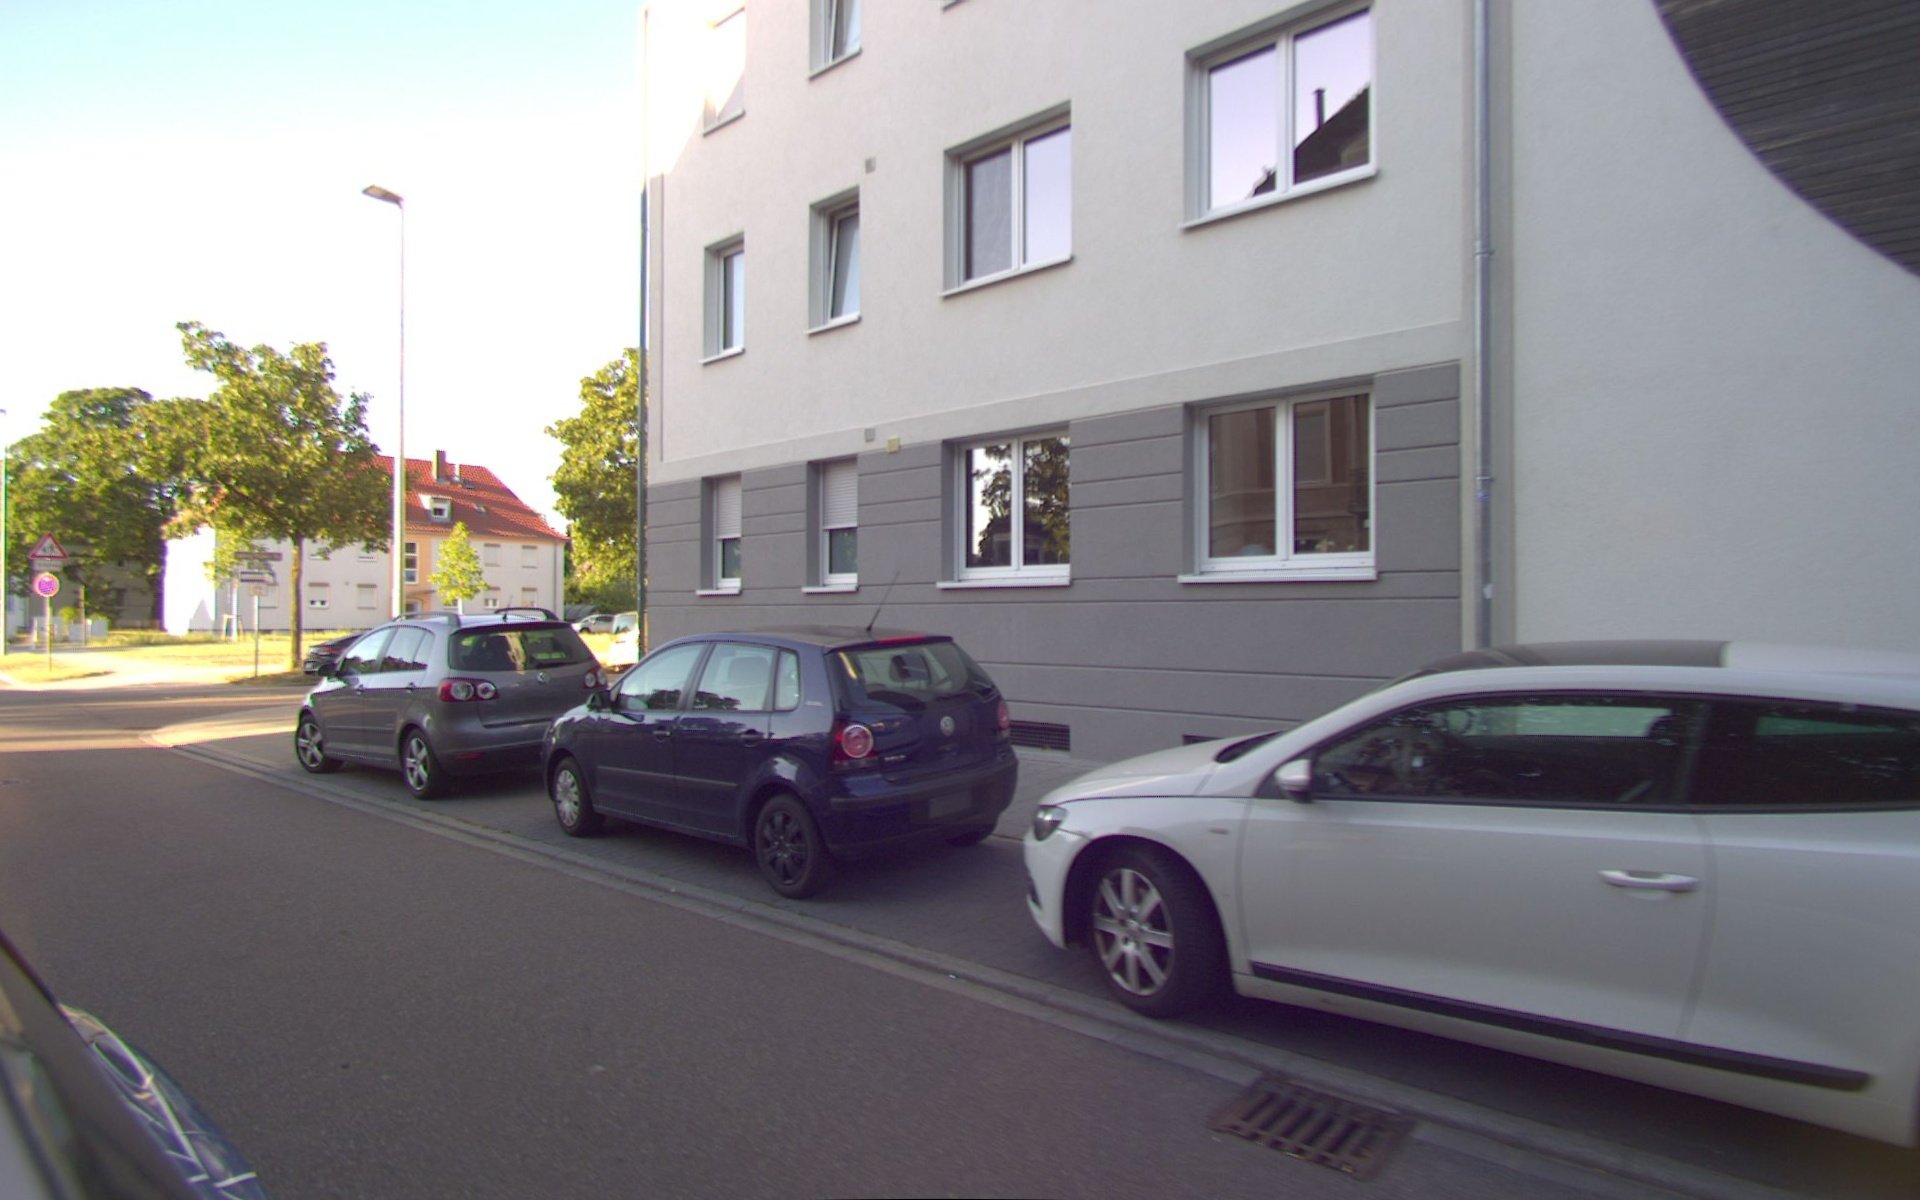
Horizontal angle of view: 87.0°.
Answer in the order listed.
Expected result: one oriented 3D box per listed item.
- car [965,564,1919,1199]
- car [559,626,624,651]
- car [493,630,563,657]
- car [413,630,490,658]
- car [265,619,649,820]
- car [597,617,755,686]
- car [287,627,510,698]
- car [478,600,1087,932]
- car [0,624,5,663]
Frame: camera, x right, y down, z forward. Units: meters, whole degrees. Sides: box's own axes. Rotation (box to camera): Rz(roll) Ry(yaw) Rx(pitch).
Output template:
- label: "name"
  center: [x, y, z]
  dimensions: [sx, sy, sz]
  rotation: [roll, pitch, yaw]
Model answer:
- label: "car"
  center: [2.189, 0.748, 3.577]
  dimensions: [4.085, 1.603, 1.866]
  rotation: [-1, -2, 38]
- label: "car"
  center: [-25.845, 2.686, 71.046]
  dimensions: [1.848, 1.708, 3.948]
  rotation: [-3, -3, 38]
- label: "car"
  center: [-28.876, 2.896, 67.701]
  dimensions: [1.848, 1.708, 3.948]
  rotation: [-3, -3, 38]
- label: "car"
  center: [-31.987, 2.764, 63.732]
  dimensions: [1.848, 1.708, 3.948]
  rotation: [-3, -3, 38]
- label: "car"
  center: [-5.118, 1.006, 10.101]
  dimensions: [4.085, 1.603, 1.866]
  rotation: [-1, -2, 38]
- label: "car"
  center: [-9.197, 1.656, 33.067]
  dimensions: [2.031, 2.029, 4.632]
  rotation: [-6, -5, 39]
- label: "car"
  center: [-14.569, 1.556, 26.504]
  dimensions: [1.787, 1.682, 4.773]
  rotation: [-1, -2, 41]
- label: "car"
  center: [-1.371, 0.855, 6.915]
  dimensions: [4.085, 1.603, 1.866]
  rotation: [-1, -2, 38]
- label: "car"
  center: [-43.342, 1.850, 42.578]
  dimensions: [1.855, 1.708, 4.276]
  rotation: [-2, -3, 17]
